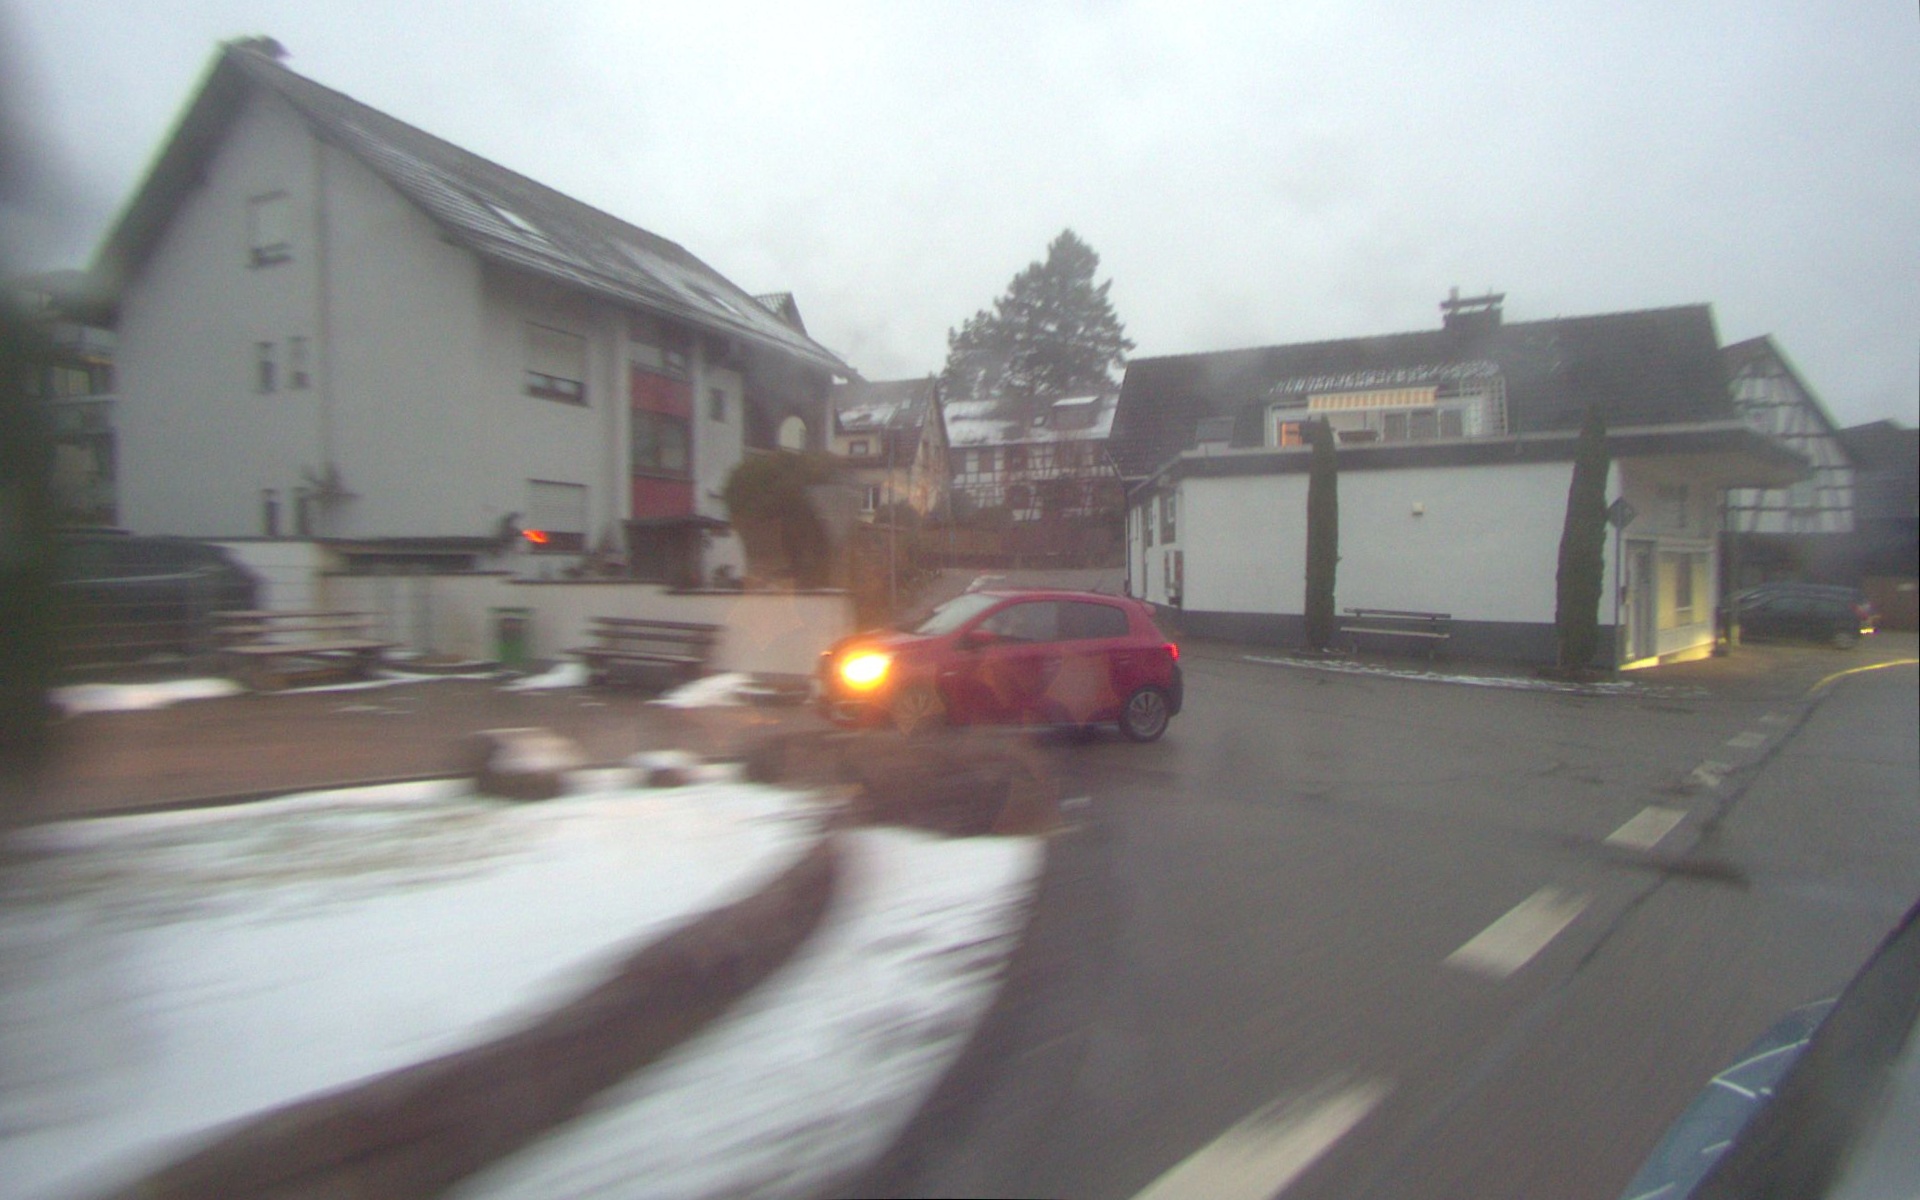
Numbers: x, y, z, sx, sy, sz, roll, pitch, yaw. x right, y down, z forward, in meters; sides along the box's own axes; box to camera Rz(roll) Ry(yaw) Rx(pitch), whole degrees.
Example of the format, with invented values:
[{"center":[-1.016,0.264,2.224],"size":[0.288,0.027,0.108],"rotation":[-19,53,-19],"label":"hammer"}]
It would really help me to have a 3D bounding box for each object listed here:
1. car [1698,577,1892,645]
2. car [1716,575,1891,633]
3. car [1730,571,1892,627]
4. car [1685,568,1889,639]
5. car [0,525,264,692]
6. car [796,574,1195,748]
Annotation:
[{"center":[24.080,0.265,29.374],"size":[3.856,1.466,1.873],"rotation":[6,6,26],"label":"car"},{"center":[27.822,0.085,33.559],"size":[3.999,1.437,1.800],"rotation":[6,6,26],"label":"car"},{"center":[30.190,-0.071,36.034],"size":[3.935,1.533,1.589],"rotation":[5,6,19],"label":"car"},{"center":[25.492,0.052,31.419],"size":[4.431,1.680,1.841],"rotation":[6,6,24],"label":"car"},{"center":[-10.186,0.029,10.983],"size":[1.791,1.652,4.113],"rotation":[3,2,18],"label":"car"},{"center":[0.344,0.514,10.024],"size":[3.621,1.484,1.554],"rotation":[0,1,-22],"label":"car"}]
